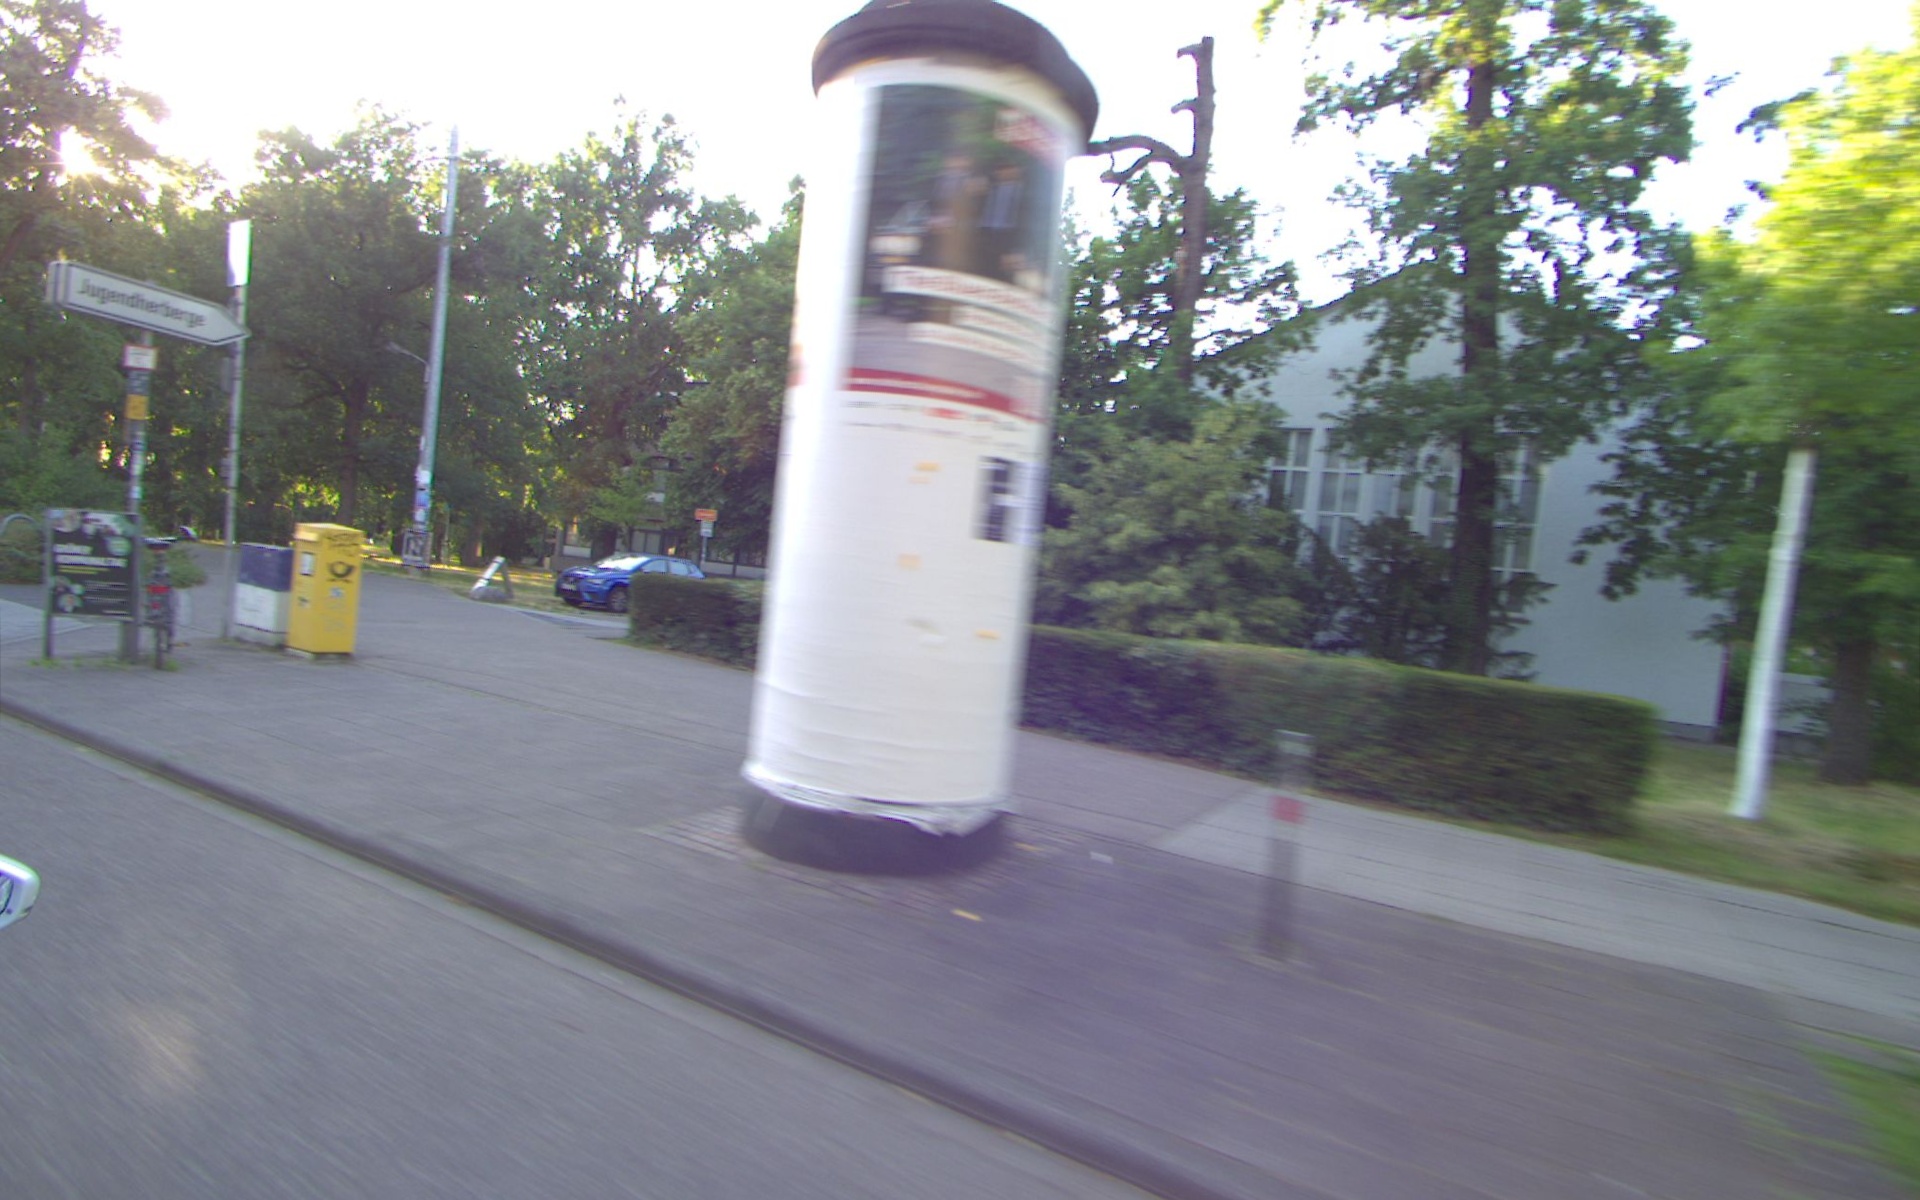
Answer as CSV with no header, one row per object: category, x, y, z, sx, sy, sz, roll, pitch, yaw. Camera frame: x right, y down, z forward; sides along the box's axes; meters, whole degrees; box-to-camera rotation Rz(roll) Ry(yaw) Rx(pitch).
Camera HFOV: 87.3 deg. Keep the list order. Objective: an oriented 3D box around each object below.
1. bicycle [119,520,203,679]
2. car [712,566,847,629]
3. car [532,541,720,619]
bicycle,-7.052,-0.063,8.840,0.489,1.164,2.258,1,5,-40
car,-5.259,-0.035,29.865,1.707,1.495,3.993,6,0,29
car,-8.052,-0.440,24.624,1.804,1.460,4.145,6,0,29
